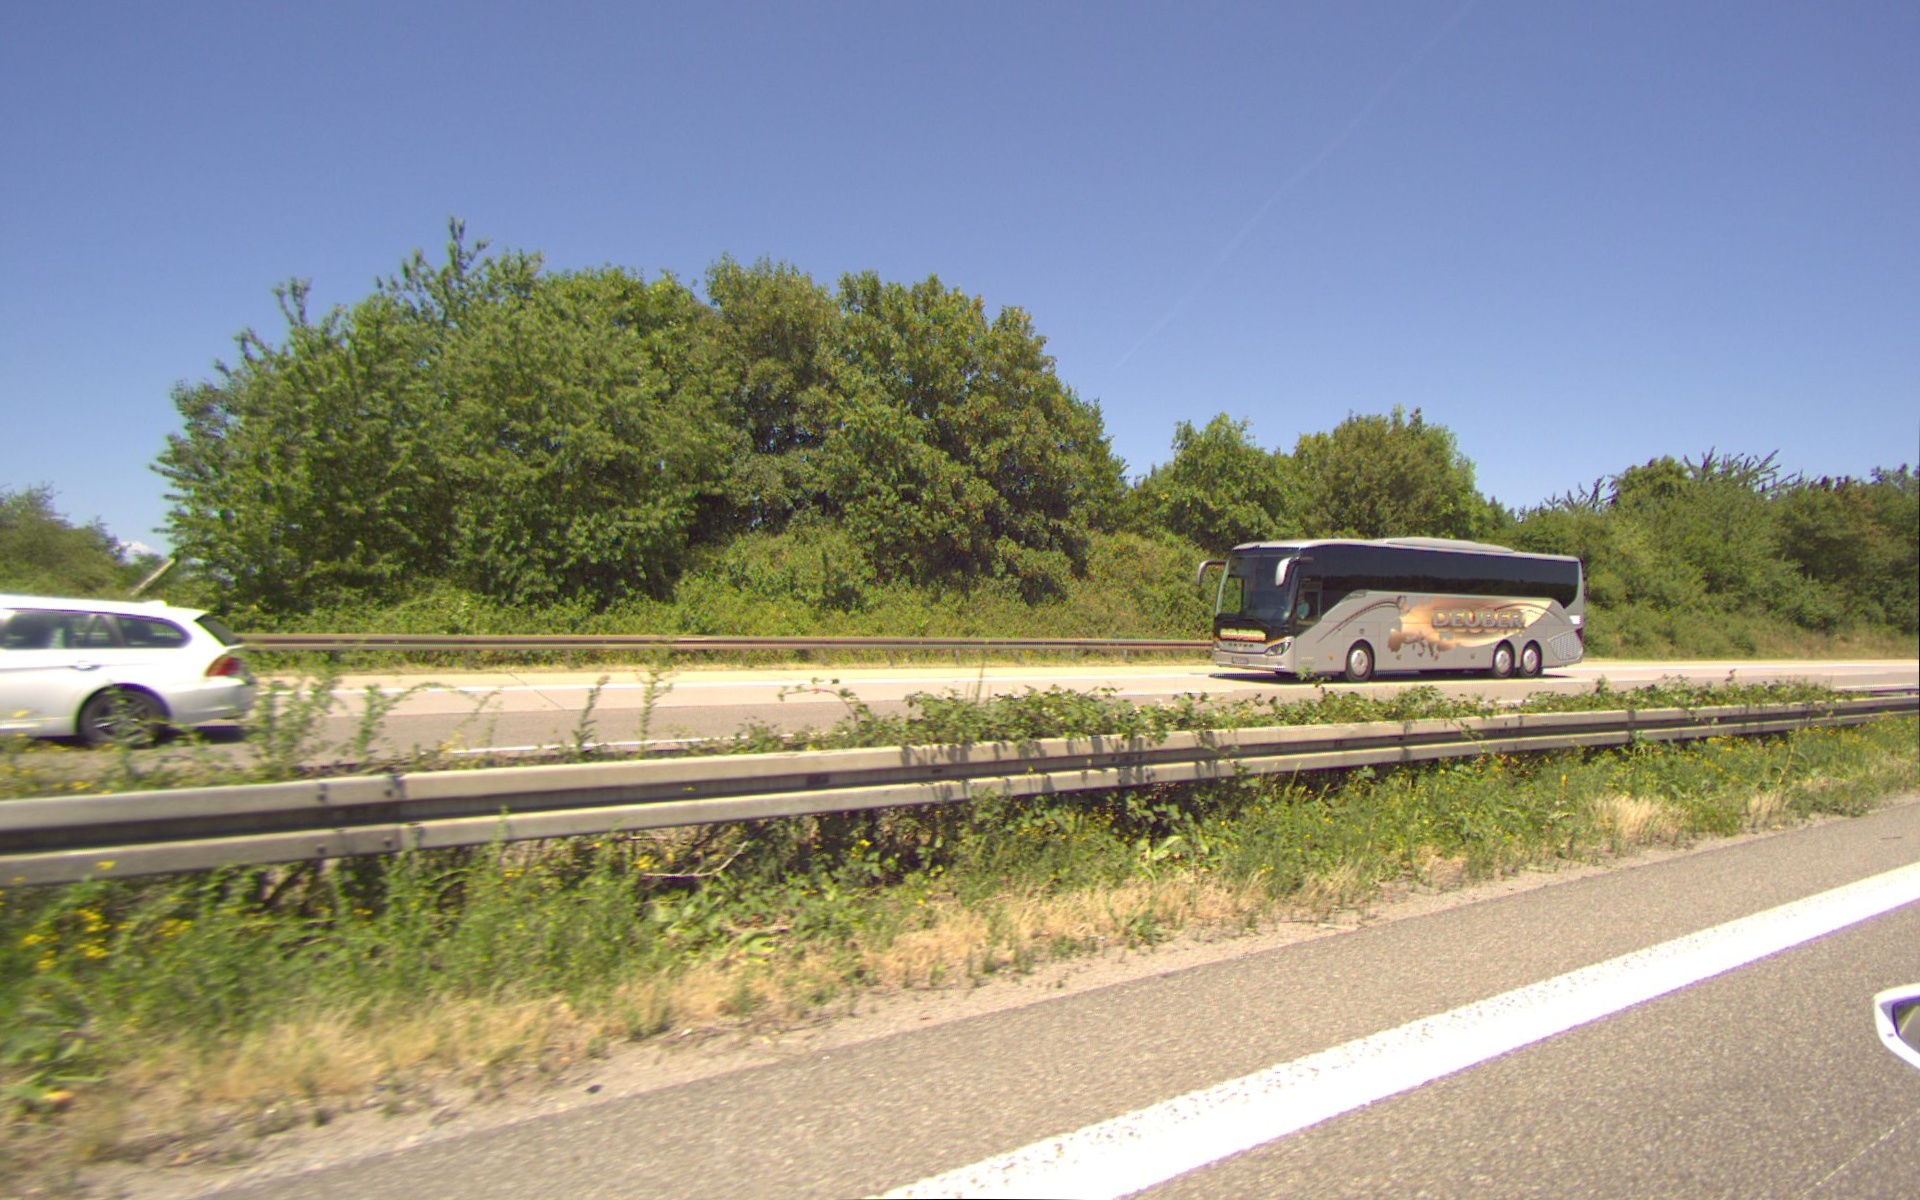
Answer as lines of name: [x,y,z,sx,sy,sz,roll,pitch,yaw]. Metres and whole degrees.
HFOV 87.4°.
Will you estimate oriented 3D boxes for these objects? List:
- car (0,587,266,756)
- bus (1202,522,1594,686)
car: [-9.512,0.646,9.856,4.281,1.535,1.759,2,0,-31]
bus: [12.330,0.252,27.357,12.848,3.757,2.728,2,0,-31]
